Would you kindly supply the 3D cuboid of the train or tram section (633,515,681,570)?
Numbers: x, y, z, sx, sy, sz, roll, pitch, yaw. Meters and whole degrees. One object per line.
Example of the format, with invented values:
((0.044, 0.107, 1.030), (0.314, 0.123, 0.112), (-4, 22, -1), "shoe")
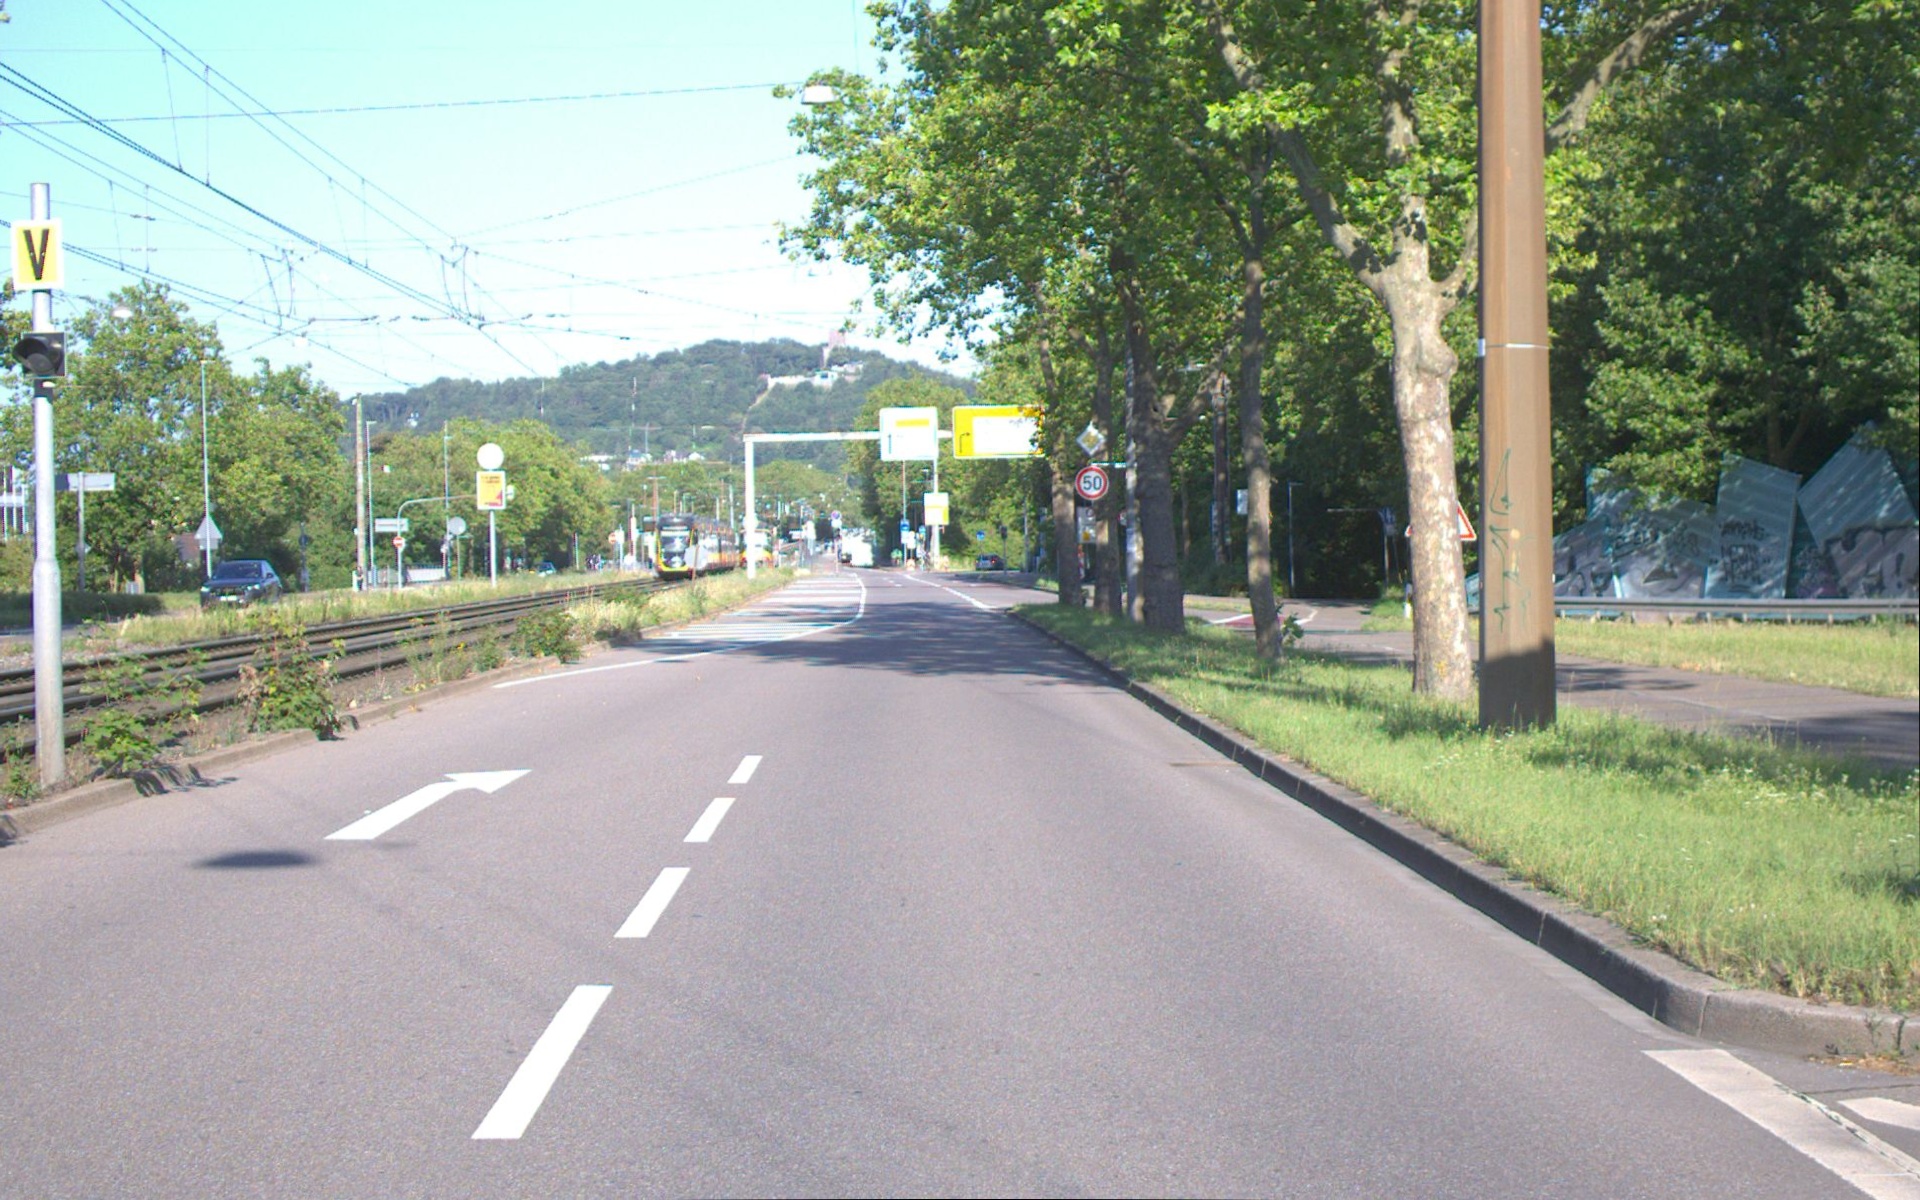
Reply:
((-22.120, -4.151, 251.621), (2.823, 3.937, 12.708), (0, 1, -2), "train or tram section")

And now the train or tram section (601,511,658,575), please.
((-20.609, -3.510, 214.900), (2.804, 3.889, 12.333), (0, 1, -2), "train or tram section")

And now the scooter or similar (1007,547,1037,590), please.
((3.928, -1.992, 217.737), (1.681, 2.706, 4.869), (0, 1, -1), "scooter or similar")

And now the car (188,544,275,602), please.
((-22.966, -0.867, 108.550), (1.898, 1.688, 4.942), (-3, 1, -3), "car")
